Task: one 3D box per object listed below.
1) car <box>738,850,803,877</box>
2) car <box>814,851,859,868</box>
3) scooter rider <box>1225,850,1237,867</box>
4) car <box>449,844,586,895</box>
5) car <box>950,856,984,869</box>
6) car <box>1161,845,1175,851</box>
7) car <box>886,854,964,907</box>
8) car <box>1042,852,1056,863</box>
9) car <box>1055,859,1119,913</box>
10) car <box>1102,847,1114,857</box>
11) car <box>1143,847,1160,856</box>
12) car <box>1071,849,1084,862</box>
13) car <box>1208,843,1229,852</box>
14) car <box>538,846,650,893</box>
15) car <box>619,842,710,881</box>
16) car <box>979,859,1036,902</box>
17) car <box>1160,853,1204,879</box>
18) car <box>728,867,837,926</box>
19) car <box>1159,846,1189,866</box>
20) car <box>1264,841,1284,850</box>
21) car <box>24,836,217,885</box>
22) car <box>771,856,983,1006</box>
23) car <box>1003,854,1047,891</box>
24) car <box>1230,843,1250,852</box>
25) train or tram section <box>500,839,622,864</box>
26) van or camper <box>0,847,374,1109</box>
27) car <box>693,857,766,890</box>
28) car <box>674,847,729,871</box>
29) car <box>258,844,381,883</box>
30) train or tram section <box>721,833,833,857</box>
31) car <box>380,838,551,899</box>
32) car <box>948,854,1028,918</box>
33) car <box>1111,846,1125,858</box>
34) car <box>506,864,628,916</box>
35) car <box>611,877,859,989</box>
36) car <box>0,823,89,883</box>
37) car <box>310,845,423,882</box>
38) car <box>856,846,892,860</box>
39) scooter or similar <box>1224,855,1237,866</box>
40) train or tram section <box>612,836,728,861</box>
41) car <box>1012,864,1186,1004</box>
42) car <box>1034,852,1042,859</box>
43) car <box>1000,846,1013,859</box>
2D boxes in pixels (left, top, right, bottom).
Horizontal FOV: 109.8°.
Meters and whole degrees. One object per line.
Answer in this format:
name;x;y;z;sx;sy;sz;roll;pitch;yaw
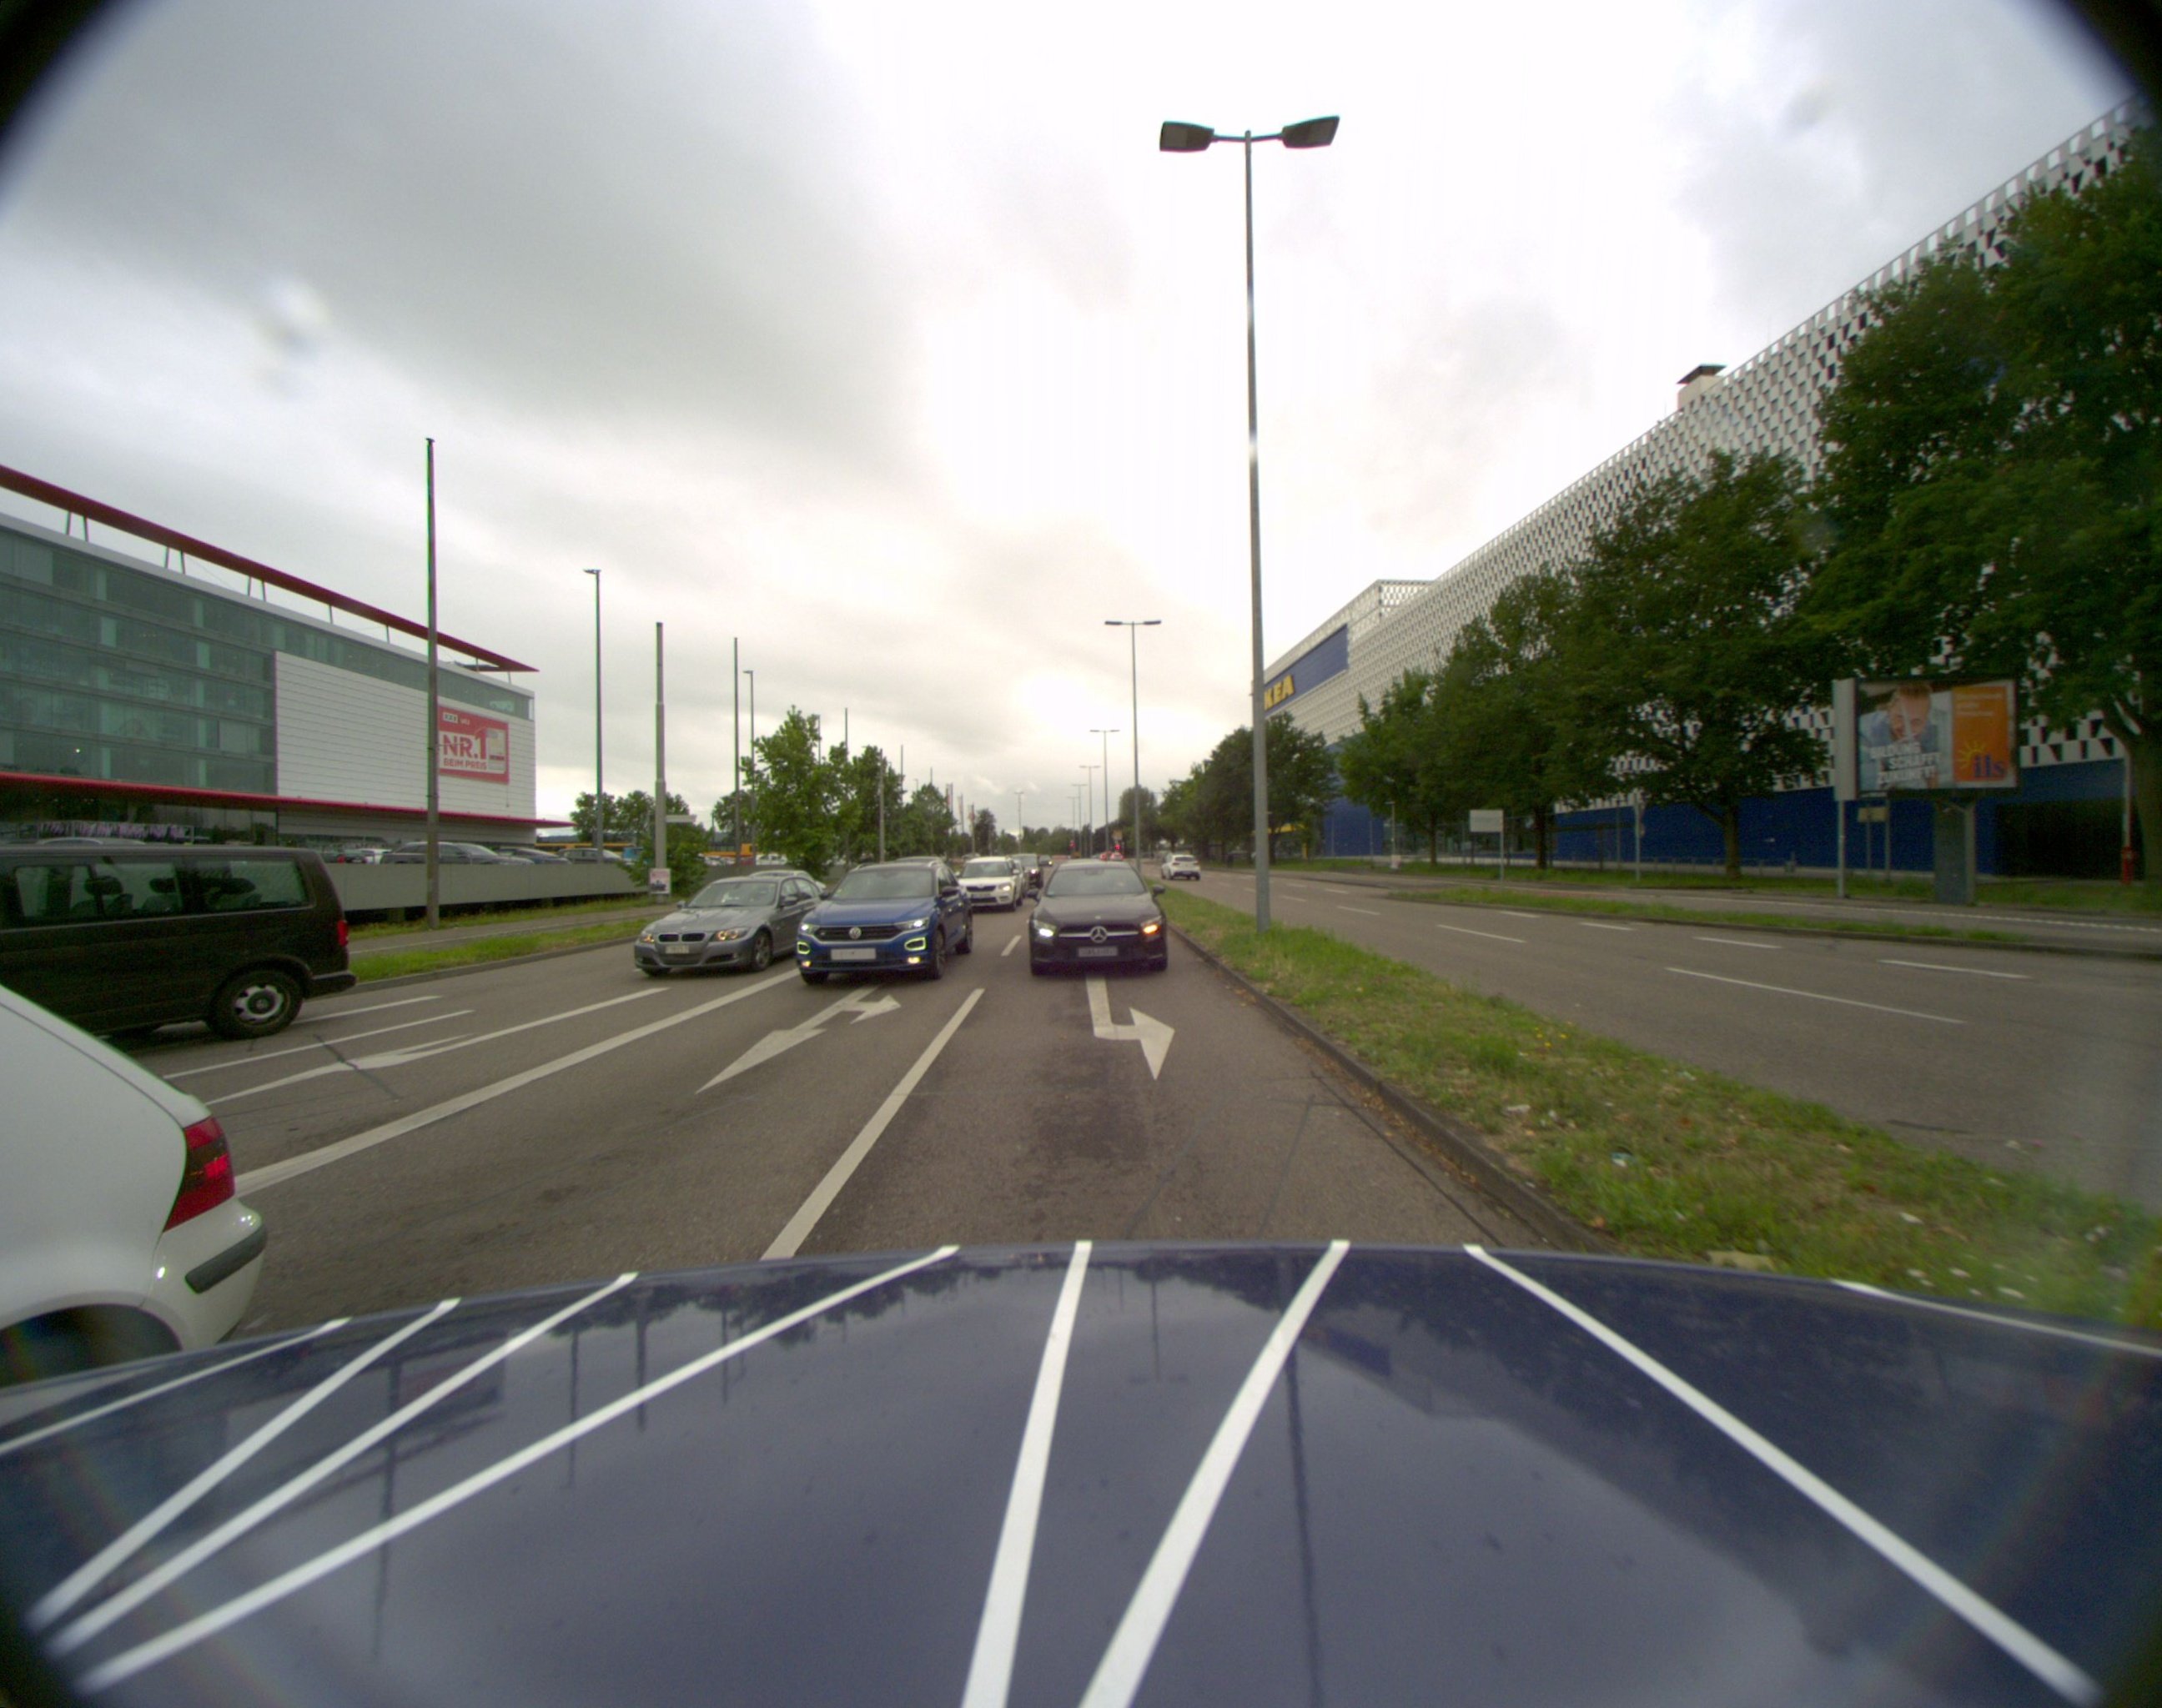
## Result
car;-25.171;0.752;61.709;4.324;2.002;1.999;-3;1;-3
car;-25.116;0.550;78.246;3.997;1.556;1.796;-3;1;-1
scooter rider;15.580;0.489;78.975;0.798;1.710;1.037;-2;1;-17
car;-23.111;0.591;31.302;3.998;1.838;1.999;-3;1;-3
car;-15.150;1.099;100.799;4.216;1.407;1.802;-3;1;-2
car;28.985;-2.127;251.866;4.291;1.813;1.742;-3;1;-4
car;-5.484;0.885;27.305;1.799;1.615;4.373;-3;1;0
car;-4.544;0.436;108.607;1.801;1.407;4.218;-3;1;-1
car;0.140;0.928;23.823;1.767;1.370;4.258;-3;1;-1
car;5.068;-0.348;141.987;1.847;1.709;3.923;-3;1;-3
car;17.189;-0.588;185.327;3.998;2.002;1.999;-3;1;-3
car;-0.609;0.219;130.861;1.999;2.206;3.999;-1;0;-4
car;27.237;-1.297;150.573;3.565;1.630;1.742;-3;1;-4
car;-23.379;0.731;36.611;3.998;2.002;1.999;-3;1;-3
car;-23.844;0.429;43.649;3.998;2.002;1.999;-3;1;-3
car;-2.836;0.980;30.175;1.801;1.407;4.218;-3;1;-1
car;5.828;0.646;44.236;1.786;1.444;3.931;0;0;-4
car;-8.519;1.165;22.065;1.694;1.364;3.925;-3;1;-2
car;8.189;0.173;67.152;1.847;1.646;4.359;1;1;-3
car;44.191;-1.977;173.905;4.000;1.805;1.998;-3;1;-9
car;-33.000;0.194;26.214;3.992;1.429;1.869;-3;1;-4
car;-2.692;0.918;11.168;1.846;1.612;4.331;-3;1;0
car;-2.638;0.839;36.877;1.801;1.565;4.218;-3;1;-1
car;36.225;-1.520;172.828;4.000;1.805;1.998;-3;1;-9
train or tram section;-114.569;-0.490;167.786;23.277;4.811;3.630;-2;1;-4
van or camper;-9.494;1.031;6.256;2.161;2.002;4.946;-2;1;11
car;-24.297;1.313;52.645;3.998;2.002;1.999;-3;1;-3
car;-35.159;0.444;70.466;3.998;2.002;1.999;-3;1;-3
car;-38.480;0.445;38.490;3.998;1.729;1.999;-3;1;-3
train or tram section;-68.280;-2.003;171.188;23.277;4.811;3.630;-2;1;-4
car;-22.818;0.499;28.325;4.530;2.002;1.999;-3;1;-3
car;-2.725;0.888;23.143;1.799;1.615;4.373;-3;1;0
car;6.079;-0.372;124.680;1.847;1.876;3.923;-3;1;-3
car;-23.208;1.594;34.420;3.998;2.002;1.999;-3;1;-3
car;-5.488;1.163;12.902;1.816;1.402;4.879;-2;-1;2
car;-37.304;0.016;26.011;3.867;1.937;1.869;-3;1;-4
car;-38.571;0.487;41.085;3.998;1.729;1.999;-3;1;-3
car;-26.044;-0.177;95.691;3.997;1.556;1.796;-3;1;-1
scooter or similar;15.556;0.701;79.009;0.590;1.119;1.423;-5;2;-17
train or tram section;-91.455;-1.169;169.490;23.277;4.811;3.630;-2;1;-4
car;0.188;0.918;10.503;1.859;1.426;4.196;-3;0;-1
car;-11.038;0.327;193.996;1.999;1.767;3.999;-1;0;-4
car;-13.042;-0.318;132.945;1.999;2.229;3.999;-1;0;-4
